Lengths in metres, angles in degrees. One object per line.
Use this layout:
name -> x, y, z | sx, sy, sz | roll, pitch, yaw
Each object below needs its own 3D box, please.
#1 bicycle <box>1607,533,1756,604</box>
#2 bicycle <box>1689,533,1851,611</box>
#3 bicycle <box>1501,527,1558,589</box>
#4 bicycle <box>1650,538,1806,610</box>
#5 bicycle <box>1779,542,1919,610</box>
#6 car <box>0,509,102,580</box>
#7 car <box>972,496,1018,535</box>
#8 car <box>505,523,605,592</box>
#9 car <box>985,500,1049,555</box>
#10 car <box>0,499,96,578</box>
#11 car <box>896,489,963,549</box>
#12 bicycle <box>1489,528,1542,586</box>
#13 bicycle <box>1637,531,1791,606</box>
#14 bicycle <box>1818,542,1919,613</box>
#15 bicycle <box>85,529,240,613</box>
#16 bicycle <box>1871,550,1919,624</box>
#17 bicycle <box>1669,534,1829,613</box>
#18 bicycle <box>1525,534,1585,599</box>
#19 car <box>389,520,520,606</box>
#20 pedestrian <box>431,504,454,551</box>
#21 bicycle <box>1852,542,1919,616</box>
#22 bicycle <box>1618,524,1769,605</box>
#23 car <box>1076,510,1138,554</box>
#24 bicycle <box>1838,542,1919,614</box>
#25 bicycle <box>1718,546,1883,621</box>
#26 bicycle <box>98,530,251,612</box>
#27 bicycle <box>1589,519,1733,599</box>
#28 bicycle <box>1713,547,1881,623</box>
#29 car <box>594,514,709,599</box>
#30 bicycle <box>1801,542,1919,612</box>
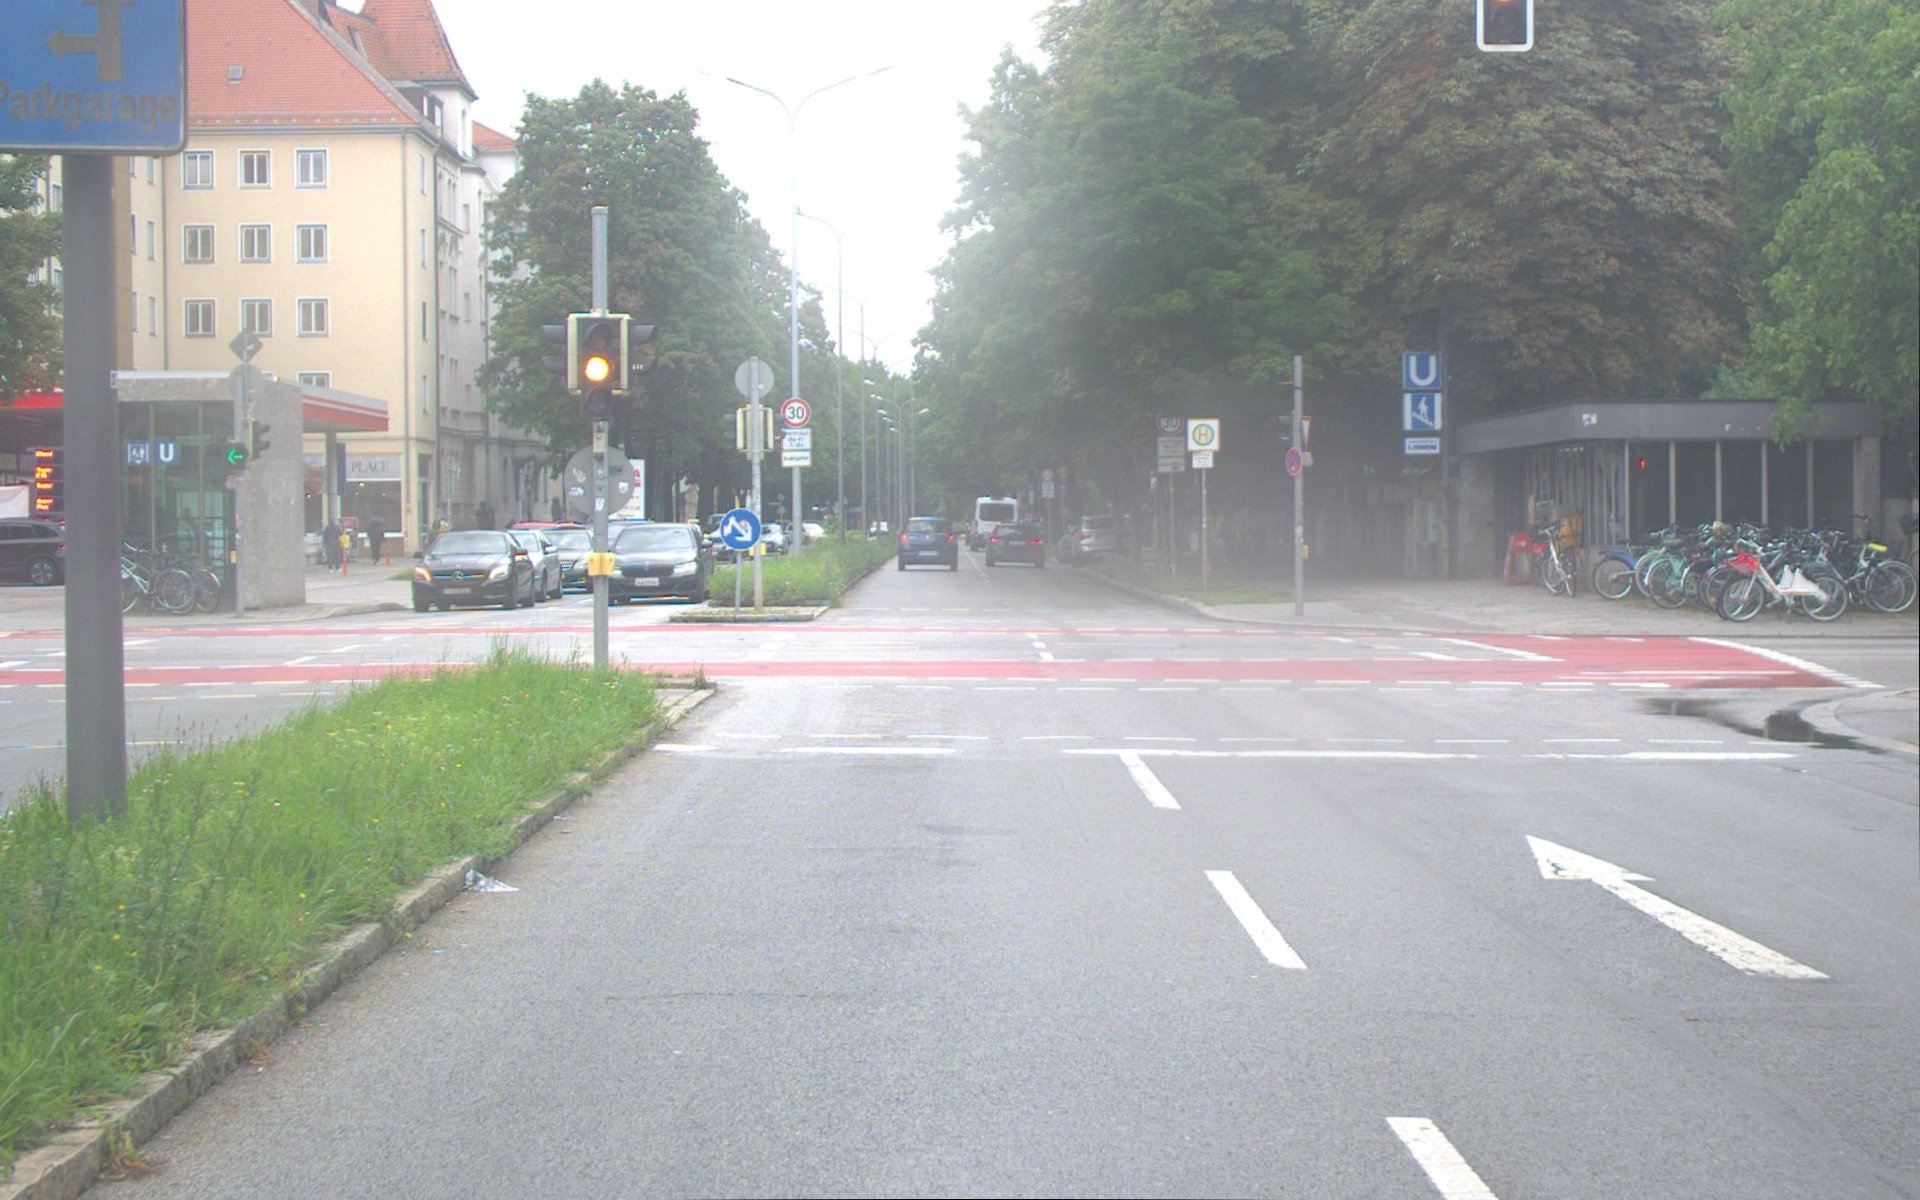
bicycle -> 10.756, -0.472, 51.313 | 2.144, 1.058, 0.603 | 0, 1, 8
bicycle -> 11.242, -0.391, 47.772 | 2.144, 1.067, 0.603 | 0, 1, 8
bicycle -> 9.624, -0.716, 58.166 | 0.556, 1.011, 2.016 | 0, 1, -2
bicycle -> 10.969, -0.371, 49.144 | 2.144, 1.011, 0.603 | 0, 1, 8
bicycle -> 13.514, -0.370, 51.982 | 2.144, 1.011, 0.634 | 0, 1, 8
car -> -26.741, -1.589, 98.373 | 3.986, 2.007, 1.891 | 0, 1, -4
car -> 1.603, -3.911, 159.153 | 1.993, 1.750, 4.000 | 0, 2, -1
car -> -8.887, -0.955, 75.645 | 1.760, 1.455, 4.000 | 0, 2, 0
car -> 1.780, -2.273, 108.474 | 1.923, 1.678, 4.000 | 1, 1, 0
car -> -22.694, -1.462, 81.529 | 3.986, 1.831, 1.881 | 0, 1, -3
car -> -0.869, -2.301, 97.321 | 1.857, 1.678, 4.000 | 0, 2, 0
bicycle -> 9.931, -0.777, 61.477 | 0.556, 1.011, 2.016 | 0, 1, -2
bicycle -> 10.925, -0.458, 49.872 | 2.144, 1.082, 0.603 | 0, 1, 8
bicycle -> 13.521, -0.329, 49.616 | 2.144, 1.011, 0.634 | 0, 1, 8
bicycle -> -12.628, -0.467, 54.454 | 2.271, 1.300, 0.704 | 0, 1, 1
bicycle -> 13.660, -0.182, 47.258 | 2.144, 1.011, 0.634 | 0, 1, 8
bicycle -> 11.102, -0.380, 48.428 | 2.144, 1.097, 0.603 | 0, 1, 8
bicycle -> 9.583, -0.556, 55.435 | 0.556, 1.011, 2.016 | 0, 1, -2
car -> -8.934, -0.685, 61.017 | 1.760, 1.455, 4.000 | 0, 2, 0
pedestrian -> -18.180, -2.542, 120.747 | 0.696, 1.632, 0.738 | 0, 1, 0
bicycle -> 13.604, -0.298, 48.053 | 2.144, 1.011, 0.634 | 0, 1, 8
bicycle -> 10.790, -0.526, 50.609 | 2.144, 1.174, 0.603 | 0, 1, 8
car -> 4.646, -2.156, 108.993 | 1.743, 1.358, 3.807 | 0, 2, 0
bicycle -> 13.606, -0.311, 48.821 | 2.144, 1.011, 0.634 | 0, 1, 8
bicycle -> 11.469, -0.232, 46.968 | 2.144, 1.011, 0.634 | 0, 1, 8
bicycle -> -12.608, -0.473, 55.234 | 2.285, 1.300, 0.694 | 0, 1, 1
bicycle -> 10.778, -0.635, 52.910 | 2.144, 1.214, 0.603 | 0, 1, 8
bicycle -> 11.272, -0.205, 46.346 | 2.144, 1.011, 0.603 | 0, 1, 8
car -> -5.585, -0.816, 62.682 | 1.760, 1.488, 4.000 | 0, 2, 0
bicycle -> 13.463, -0.346, 50.401 | 2.144, 1.011, 0.634 | 0, 1, 8
